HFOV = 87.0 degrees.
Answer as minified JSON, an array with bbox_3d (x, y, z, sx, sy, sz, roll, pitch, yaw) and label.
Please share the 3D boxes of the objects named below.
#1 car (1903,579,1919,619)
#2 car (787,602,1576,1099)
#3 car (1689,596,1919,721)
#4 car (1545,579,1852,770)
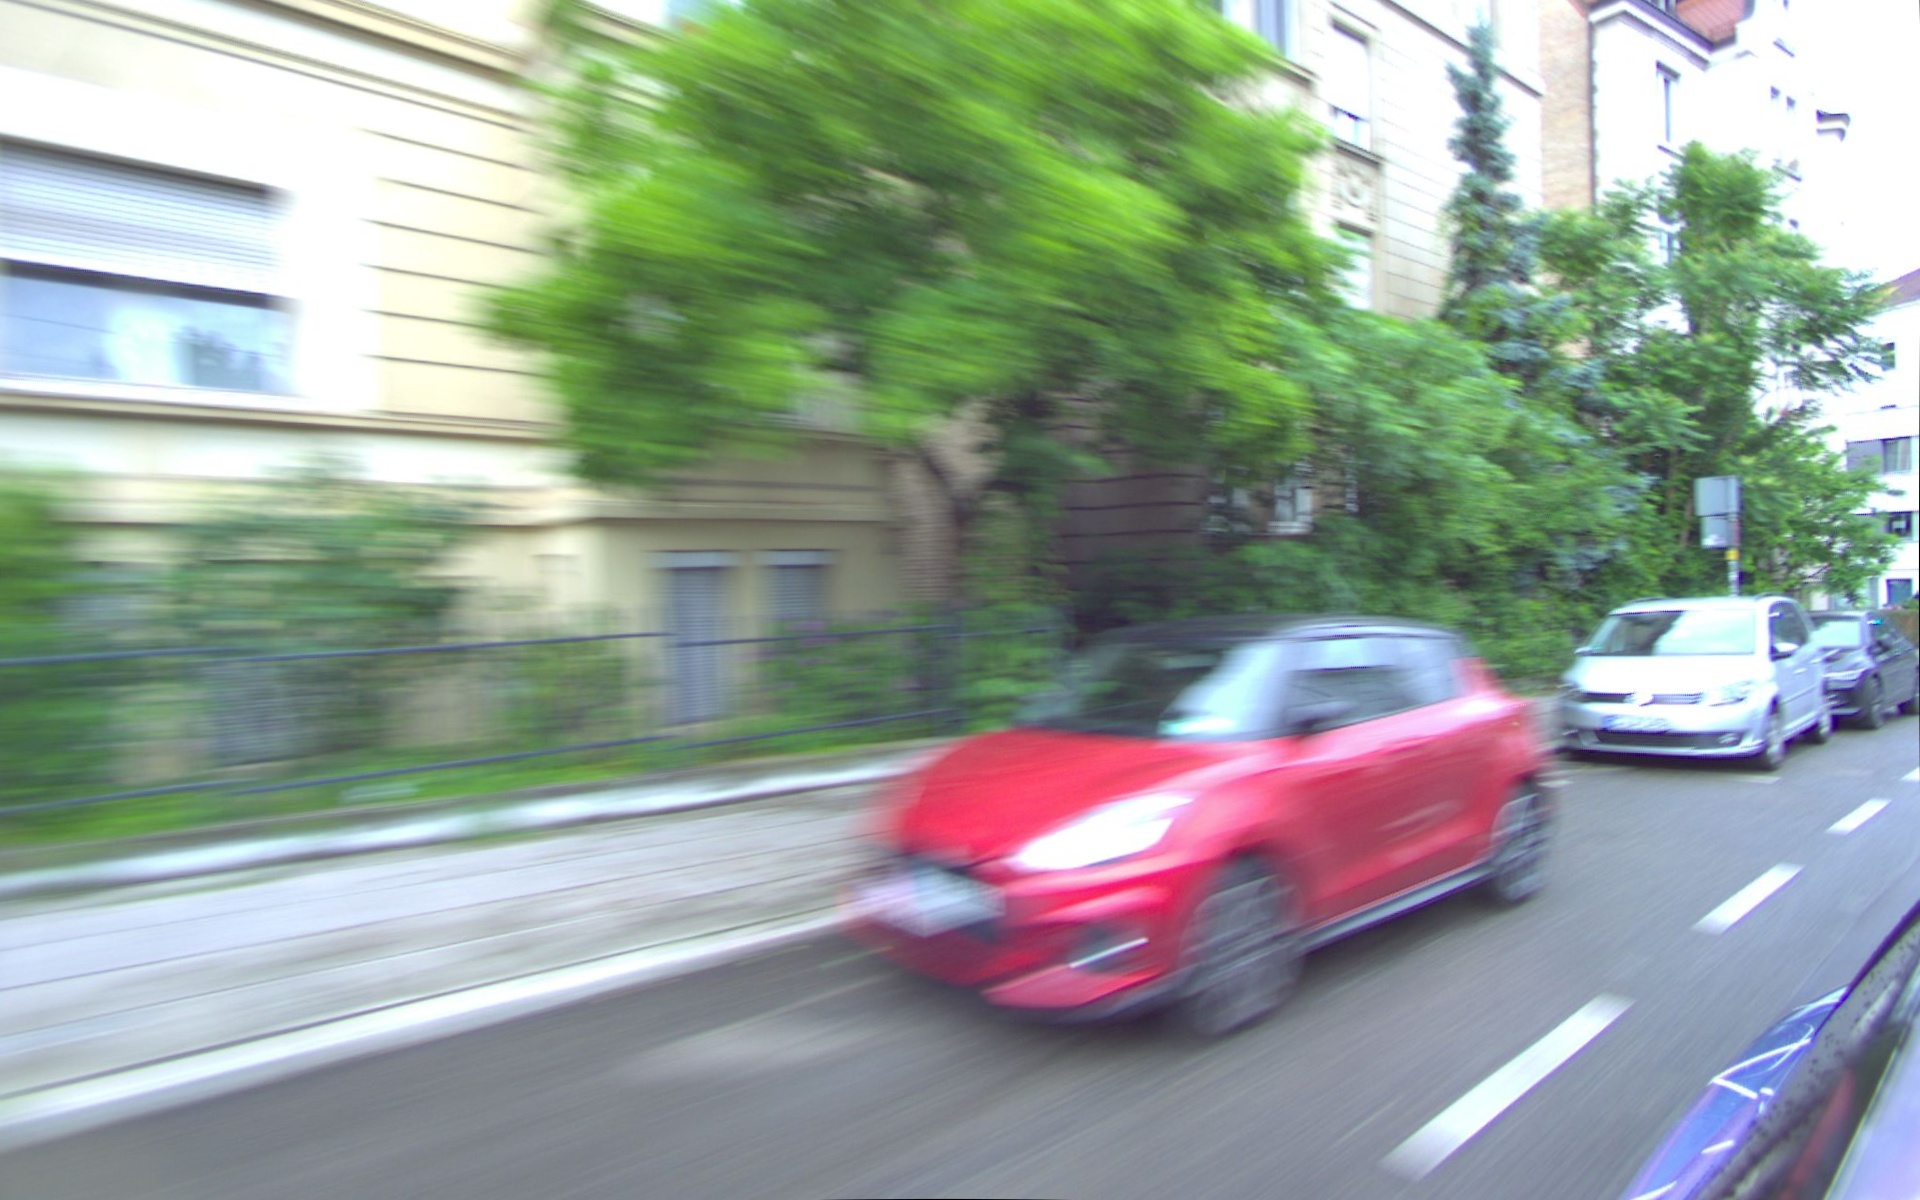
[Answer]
[{"bbox_3d":[38.460,0.046,38.286,1.702,1.526,3.678,-1,4,-27],"label":"car"},{"bbox_3d":[1.259,0.759,4.871,3.772,1.455,1.725,0,-1,-39],"label":"car"},{"bbox_3d":[11.416,0.727,13.403,3.925,1.409,1.770,2,-2,-37],"label":"car"},{"bbox_3d":[7.903,0.609,10.675,4.214,1.624,1.768,0,1,-41],"label":"car"}]
